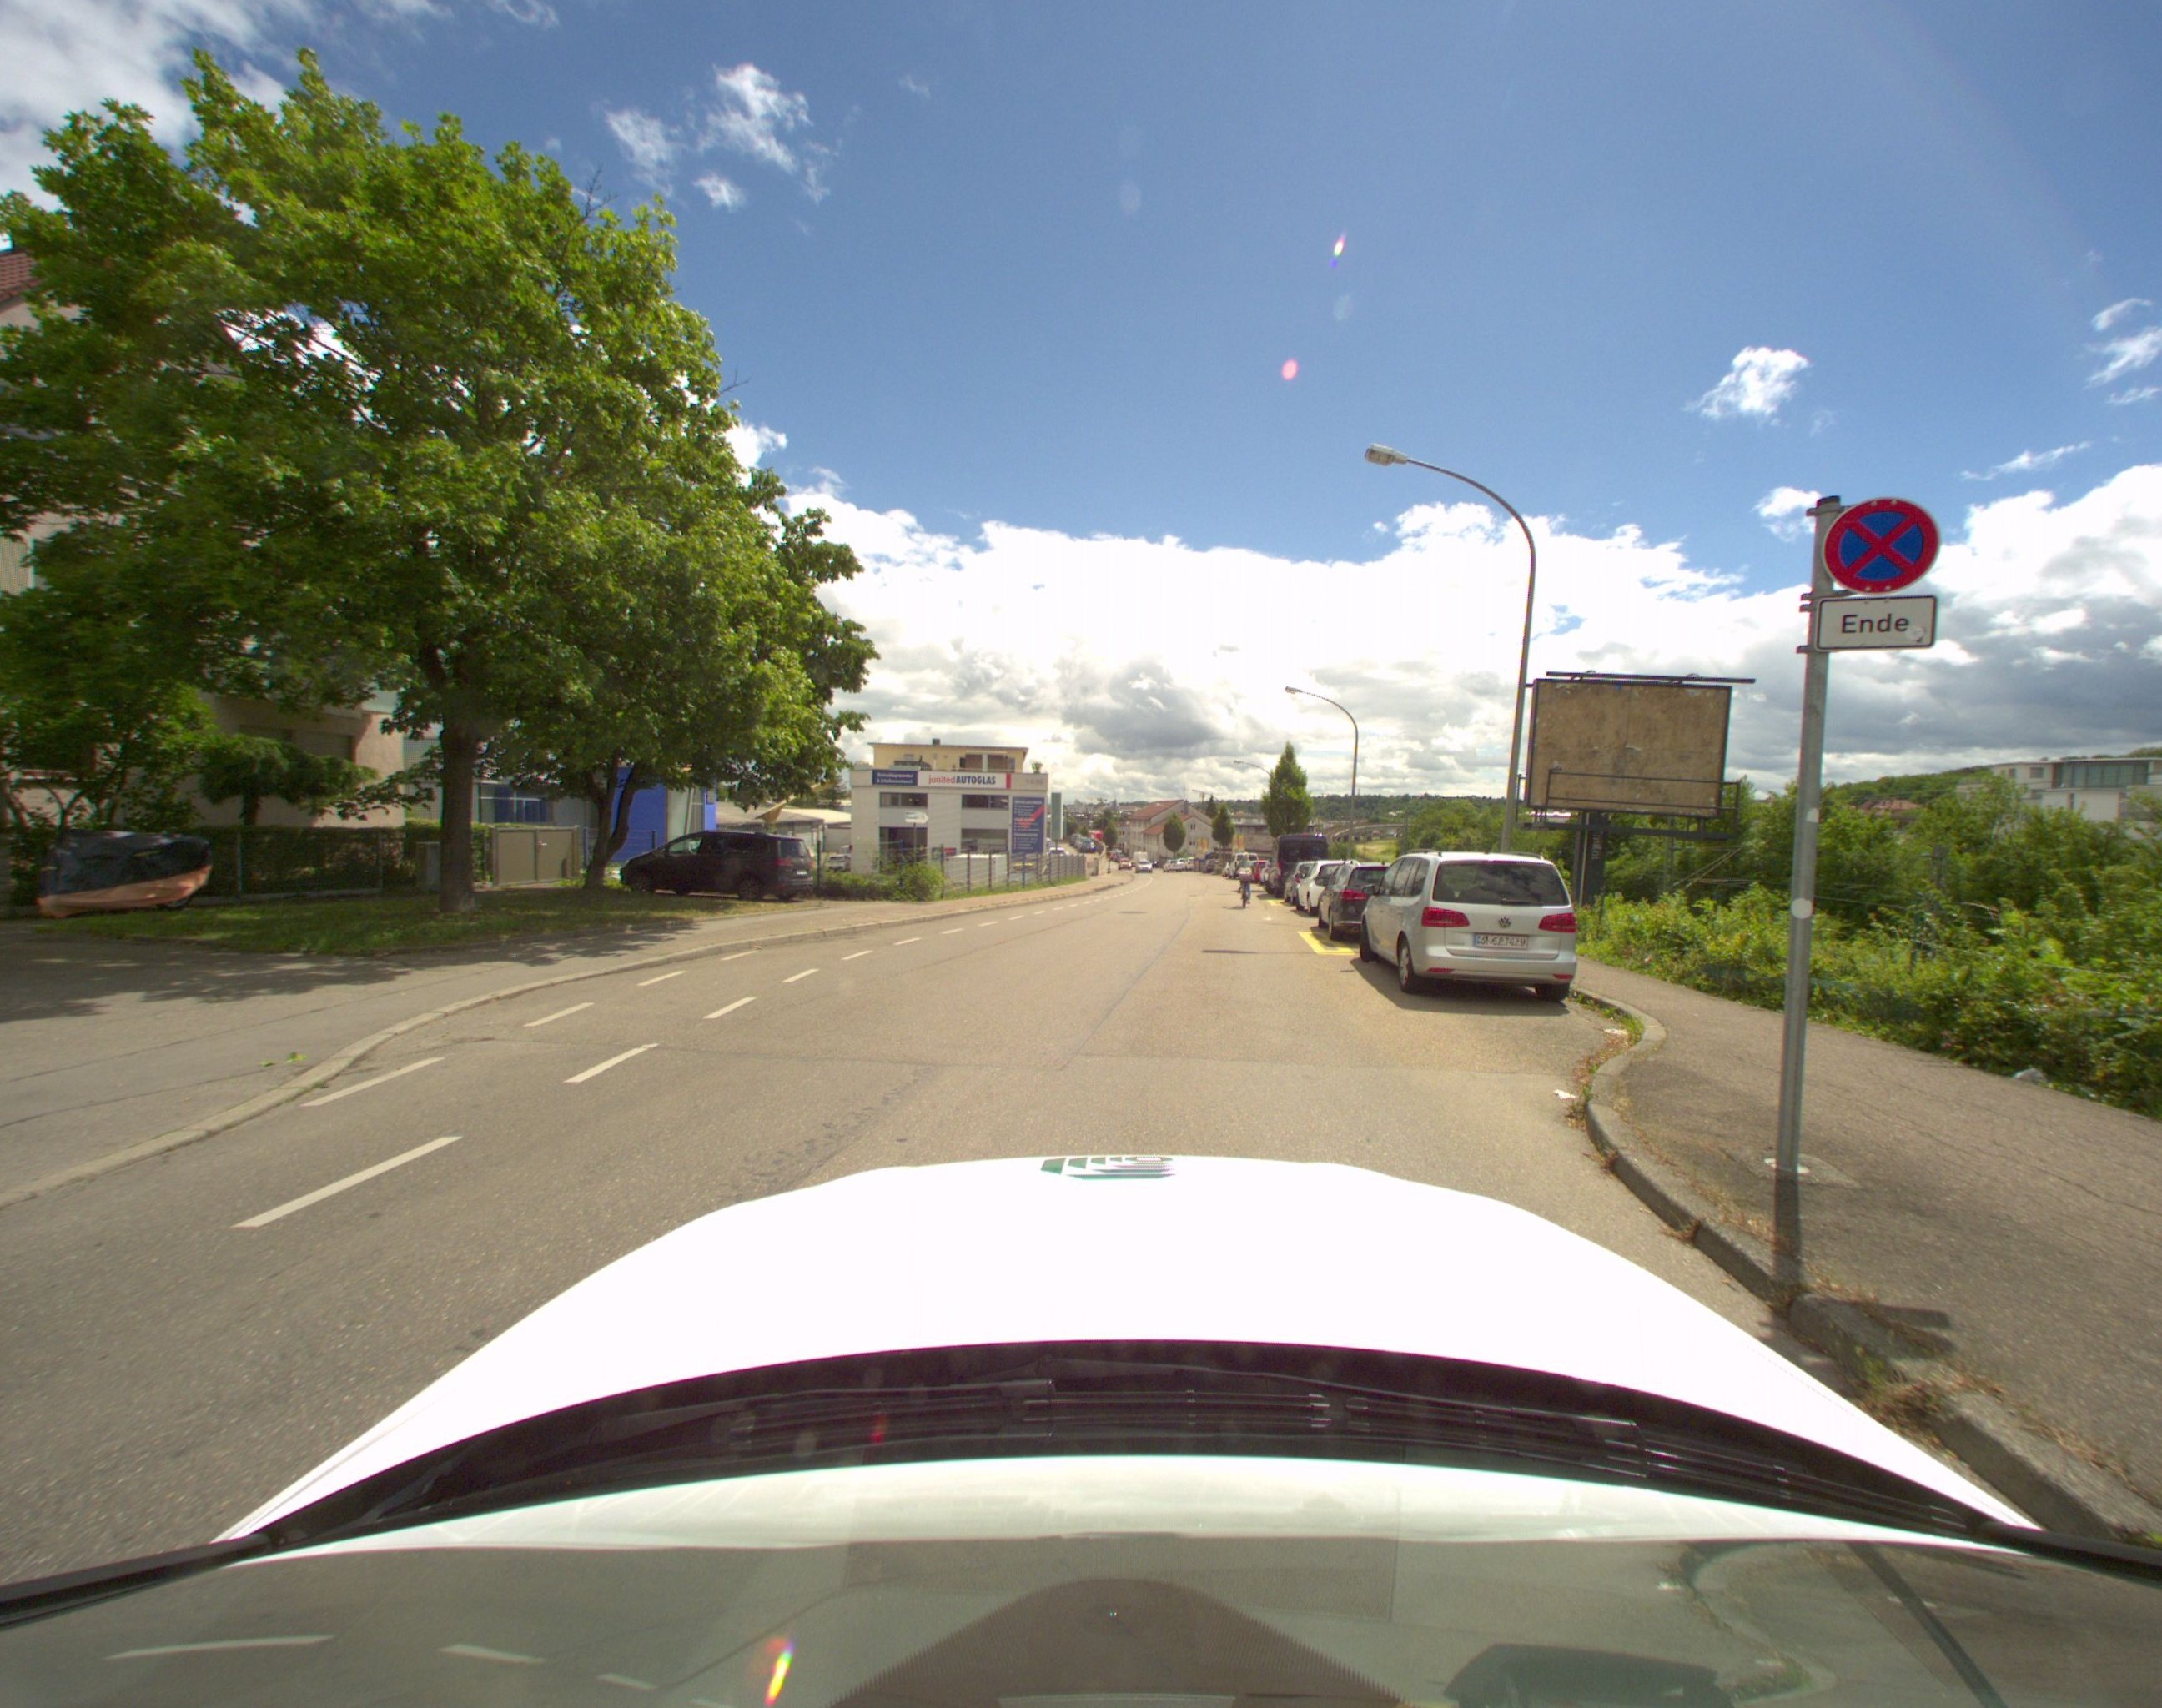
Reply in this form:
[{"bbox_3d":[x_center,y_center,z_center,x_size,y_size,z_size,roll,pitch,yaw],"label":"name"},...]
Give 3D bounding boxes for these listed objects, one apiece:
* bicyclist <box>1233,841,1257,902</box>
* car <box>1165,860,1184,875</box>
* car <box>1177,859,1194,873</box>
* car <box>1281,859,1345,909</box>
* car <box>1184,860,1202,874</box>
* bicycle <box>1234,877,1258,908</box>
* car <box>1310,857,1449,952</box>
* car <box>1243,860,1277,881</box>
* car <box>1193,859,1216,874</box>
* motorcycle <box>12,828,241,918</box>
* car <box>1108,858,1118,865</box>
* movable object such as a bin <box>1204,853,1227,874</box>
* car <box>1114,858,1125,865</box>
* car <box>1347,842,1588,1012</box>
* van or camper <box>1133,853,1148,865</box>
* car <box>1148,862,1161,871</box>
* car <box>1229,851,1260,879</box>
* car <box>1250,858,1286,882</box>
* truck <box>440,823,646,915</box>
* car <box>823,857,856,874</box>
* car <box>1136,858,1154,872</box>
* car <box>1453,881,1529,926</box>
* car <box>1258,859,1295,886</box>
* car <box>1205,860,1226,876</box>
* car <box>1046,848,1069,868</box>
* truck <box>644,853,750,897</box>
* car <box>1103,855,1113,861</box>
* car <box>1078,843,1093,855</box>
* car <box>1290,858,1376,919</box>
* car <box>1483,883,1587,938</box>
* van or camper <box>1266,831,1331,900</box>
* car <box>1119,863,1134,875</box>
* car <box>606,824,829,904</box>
[{"bbox_3d":[5.042,0.530,25.091,0.680,1.826,1.083,-1,-1,10],"label":"bicyclist"},{"bbox_3d":[10.813,1.553,94.522,1.984,1.618,4.004,-1,-1,4],"label":"car"},{"bbox_3d":[13.684,1.568,106.575,1.835,1.706,4.002,-1,-1,2],"label":"car"},{"bbox_3d":[7.867,0.953,27.869,1.695,1.510,3.706,2,0,10],"label":"car"},{"bbox_3d":[13.818,1.559,100.531,1.806,1.706,4.002,-1,-1,2],"label":"car"},{"bbox_3d":[5.105,1.179,25.235,0.683,0.878,2.108,-1,-1,10],"label":"bicycle"},{"bbox_3d":[5.580,0.830,15.757,1.695,1.487,4.585,2,0,10],"label":"car"},{"bbox_3d":[12.425,1.138,56.738,1.893,1.442,3.549,-1,-1,6],"label":"car"},{"bbox_3d":[14.425,1.427,95.202,2.126,1.706,4.002,-1,-1,2],"label":"car"},{"bbox_3d":[-15.541,0.291,13.385,0.912,1.315,2.241,2,0,9],"label":"motorcycle"},{"bbox_3d":[7.009,1.656,177.992,1.988,1.464,3.997,-1,-1,-2],"label":"car"},{"bbox_3d":[14.965,1.049,90.589,2.126,2.303,2.559,-1,-1,2],"label":"movable object such as a bin"},{"bbox_3d":[7.983,1.592,171.078,1.988,1.464,3.997,-1,-1,-2],"label":"car"},{"bbox_3d":[4.678,0.743,10.559,1.695,1.677,4.320,2,0,10],"label":"car"},{"bbox_3d":[10.414,0.880,142.765,1.989,2.013,3.995,3,0,-3],"label":"van or camper"},{"bbox_3d":[11.971,2.027,133.313,1.985,1.464,4.002,-1,-1,2],"label":"car"},{"bbox_3d":[12.696,0.854,63.471,1.983,2.014,4.927,1,-1,7],"label":"car"},{"bbox_3d":[11.954,1.017,52.291,1.865,1.508,4.008,-1,-1,7],"label":"car"},{"bbox_3d":[-18.488,0.495,28.501,2.441,2.874,5.901,1,-1,12],"label":"truck"},{"bbox_3d":[-21.110,1.002,71.397,1.991,1.354,3.992,1,-1,-6],"label":"car"},{"bbox_3d":[7.237,1.198,92.283,1.697,1.562,4.325,0,-1,-1],"label":"car"},{"bbox_3d":[16.410,1.942,32.756,1.695,1.510,3.706,2,0,10],"label":"car"},{"bbox_3d":[11.411,1.060,47.759,1.783,1.506,2.912,-1,-1,7],"label":"car"},{"bbox_3d":[14.218,1.482,86.264,1.983,1.618,4.006,-1,-1,6],"label":"car"},{"bbox_3d":[-2.089,0.382,71.286,1.843,1.650,3.994,-1,-1,-4],"label":"car"},{"bbox_3d":[-24.816,1.346,52.765,5.768,2.706,2.175,-1,-1,-3],"label":"truck"},{"bbox_3d":[6.357,0.925,194.082,1.989,1.420,3.995,-1,-1,-3],"label":"car"},{"bbox_3d":[0.525,-0.556,93.510,1.665,1.323,3.716,0,0,-1],"label":"car"},{"bbox_3d":[6.960,0.884,22.818,1.696,1.479,3.967,2,0,9],"label":"car"},{"bbox_3d":[15.521,1.879,28.104,1.695,1.510,4.542,2,0,10],"label":"car"},{"bbox_3d":[8.977,0.462,34.071,2.111,2.585,5.933,1,-1,10],"label":"van or camper"},{"bbox_3d":[6.206,2.088,112.141,1.704,1.574,3.997,-1,-1,-2],"label":"car"},{"bbox_3d":[-9.083,0.255,20.543,4.671,1.716,2.005,2,-2,9],"label":"car"}]
